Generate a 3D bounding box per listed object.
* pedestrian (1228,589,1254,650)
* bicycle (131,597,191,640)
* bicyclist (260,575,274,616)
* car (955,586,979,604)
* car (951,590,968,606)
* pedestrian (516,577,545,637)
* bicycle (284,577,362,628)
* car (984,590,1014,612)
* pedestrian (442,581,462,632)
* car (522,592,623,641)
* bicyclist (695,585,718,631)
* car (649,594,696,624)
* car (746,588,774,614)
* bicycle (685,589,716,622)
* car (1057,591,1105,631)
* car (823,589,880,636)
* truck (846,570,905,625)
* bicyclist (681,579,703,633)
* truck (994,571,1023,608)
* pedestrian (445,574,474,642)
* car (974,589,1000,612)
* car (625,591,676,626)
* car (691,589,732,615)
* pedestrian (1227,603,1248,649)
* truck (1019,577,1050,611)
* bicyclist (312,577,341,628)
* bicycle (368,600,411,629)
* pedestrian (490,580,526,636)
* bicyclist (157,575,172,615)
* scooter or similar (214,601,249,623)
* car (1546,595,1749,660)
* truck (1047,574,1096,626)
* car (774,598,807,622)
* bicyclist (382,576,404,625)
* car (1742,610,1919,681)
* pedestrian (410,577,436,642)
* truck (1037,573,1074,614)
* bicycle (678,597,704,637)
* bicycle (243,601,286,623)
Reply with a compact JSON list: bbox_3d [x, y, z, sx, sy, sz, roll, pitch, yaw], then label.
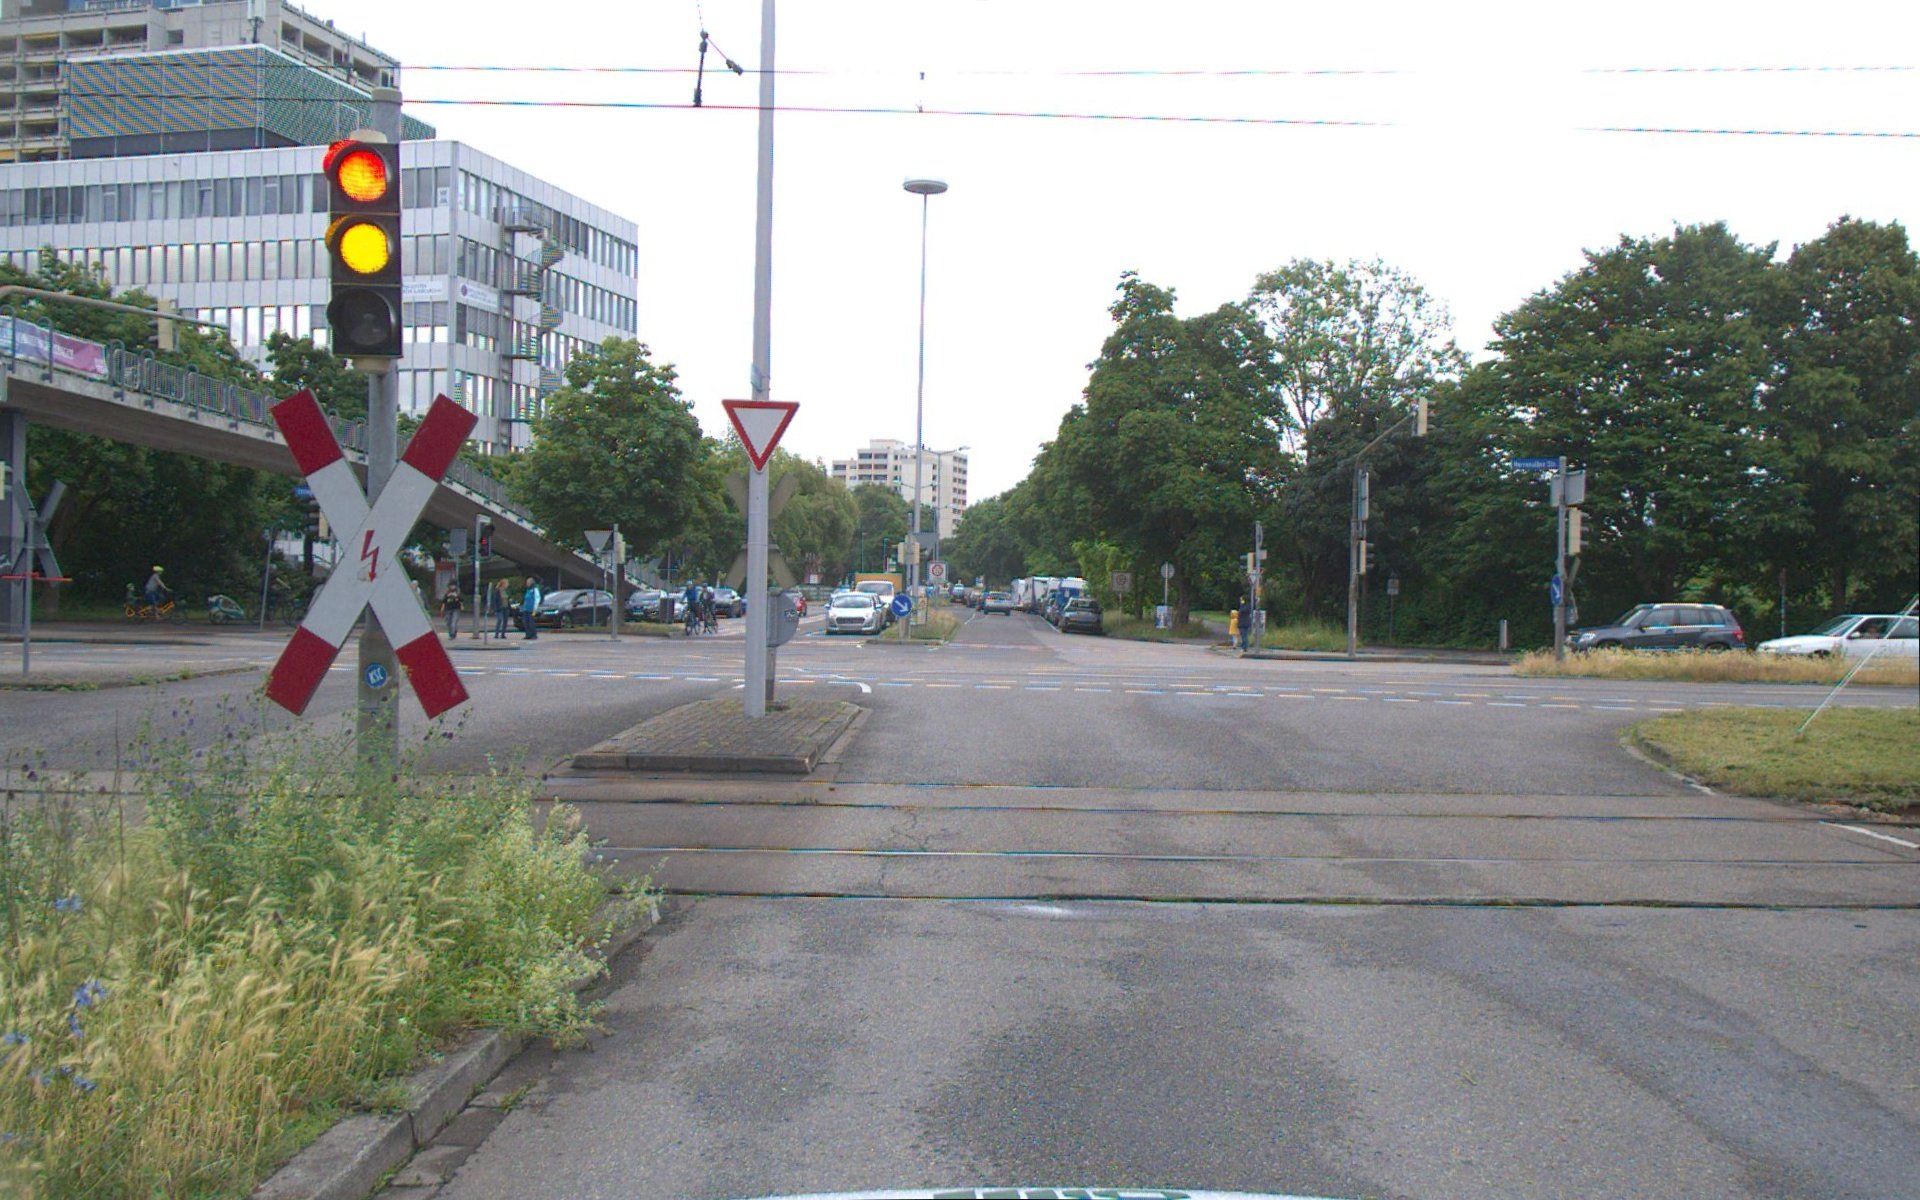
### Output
[{"bbox_3d":[8.383,0.580,49.329,0.643,1.780,0.459,1,0,-1],"label":"pedestrian"},{"bbox_3d":[-25.554,0.598,52.918,1.683,1.327,0.386,1,0,-26],"label":"bicycle"},{"bbox_3d":[-23.009,-0.149,54.914,0.380,1.326,0.275,1,0,-38],"label":"bicyclist"},{"bbox_3d":[0.589,-0.448,143.077,1.979,1.531,3.999,1,0,-1],"label":"car"},{"bbox_3d":[-0.094,-0.242,167.015,1.522,1.531,3.998,1,0,-2],"label":"car"},{"bbox_3d":[-11.843,0.179,45.598,0.673,1.633,0.487,1,0,-5],"label":"pedestrian"},{"bbox_3d":[-20.802,0.089,54.069,0.519,1.653,2.349,1,0,45],"label":"bicycle"},{"bbox_3d":[2.771,0.053,118.752,1.979,1.531,3.999,1,0,-1],"label":"car"},{"bbox_3d":[-16.245,0.213,52.851,0.570,1.607,0.777,1,0,-19],"label":"pedestrian"},{"bbox_3d":[-13.332,0.547,57.121,1.636,1.579,4.003,1,0,16],"label":"car"},{"bbox_3d":[-8.923,0.288,58.265,0.665,1.622,0.695,1,-1,-1],"label":"bicyclist"},{"bbox_3d":[-14.370,0.429,82.908,1.637,1.411,3.895,1,0,0],"label":"car"},{"bbox_3d":[-13.024,0.049,107.750,1.415,1.579,3.663,1,0,-1],"label":"car"},{"bbox_3d":[-9.016,0.184,57.518,0.712,1.120,2.264,1,0,-1],"label":"bicycle"},{"bbox_3d":[5.395,0.469,73.996,1.747,1.691,3.999,1,0,-1],"label":"car"},{"bbox_3d":[-3.759,0.399,57.807,1.753,1.545,4.325,1,0,-1],"label":"car"},{"bbox_3d":[-3.615,-0.131,71.999,2.111,2.237,5.841,1,0,1],"label":"truck"},{"bbox_3d":[-8.986,0.207,55.496,0.631,1.799,0.646,1,0,-1],"label":"bicyclist"},{"bbox_3d":[4.182,-0.900,142.993,1.954,3.061,5.767,1,0,-4],"label":"truck"},{"bbox_3d":[-13.578,0.214,44.886,0.625,1.835,0.800,1,0,-10],"label":"pedestrian"},{"bbox_3d":[2.116,0.074,131.912,1.953,1.794,3.999,1,0,-1],"label":"car"},{"bbox_3d":[-14.454,0.386,77.412,1.637,1.579,3.892,1,0,0],"label":"car"},{"bbox_3d":[-14.154,0.109,94.311,1.727,1.419,3.999,1,0,-1],"label":"car"},{"bbox_3d":[8.376,0.780,50.001,0.516,1.365,0.525,1,0,-1],"label":"pedestrian"},{"bbox_3d":[5.957,-0.430,132.226,1.954,2.618,5.375,1,0,-3],"label":"truck"},{"bbox_3d":[-20.750,0.089,54.163,0.744,1.653,0.519,1,0,-45],"label":"bicyclist"},{"bbox_3d":[-19.519,0.475,56.640,0.618,0.941,2.523,1,1,-1],"label":"bicycle"},{"bbox_3d":[-12.503,0.219,45.754,0.901,1.537,0.403,1,0,-12],"label":"pedestrian"},{"bbox_3d":[-25.480,-0.171,52.967,0.400,1.275,0.275,1,0,-25],"label":"bicyclist"},{"bbox_3d":[-23.852,0.392,54.183,0.986,0.727,0.401,1,0,-36],"label":"scooter or similar"},{"bbox_3d":[17.435,0.680,42.082,4.373,1.530,1.846,1,0,0],"label":"car"},{"bbox_3d":[6.081,0.004,90.806,2.130,2.703,6.245,0,0,-1],"label":"truck"},{"bbox_3d":[-10.359,0.604,101.289,1.481,1.414,3.533,1,0,2],"label":"car"},{"bbox_3d":[-19.429,0.018,56.667,0.553,1.673,0.531,1,-1,0],"label":"bicyclist"},{"bbox_3d":[18.750,0.942,34.541,4.052,1.381,1.647,1,0,0],"label":"car"},{"bbox_3d":[-14.331,0.253,44.175,0.608,1.721,0.404,1,0,-15],"label":"pedestrian"},{"bbox_3d":[6.915,-0.471,120.168,1.954,2.888,5.726,1,0,-4],"label":"truck"},{"bbox_3d":[-9.008,0.550,55.421,0.532,1.289,2.110,1,0,-1],"label":"bicycle"},{"bbox_3d":[-23.078,0.392,54.862,1.283,0.704,0.286,1,0,-37],"label":"bicycle"}]
